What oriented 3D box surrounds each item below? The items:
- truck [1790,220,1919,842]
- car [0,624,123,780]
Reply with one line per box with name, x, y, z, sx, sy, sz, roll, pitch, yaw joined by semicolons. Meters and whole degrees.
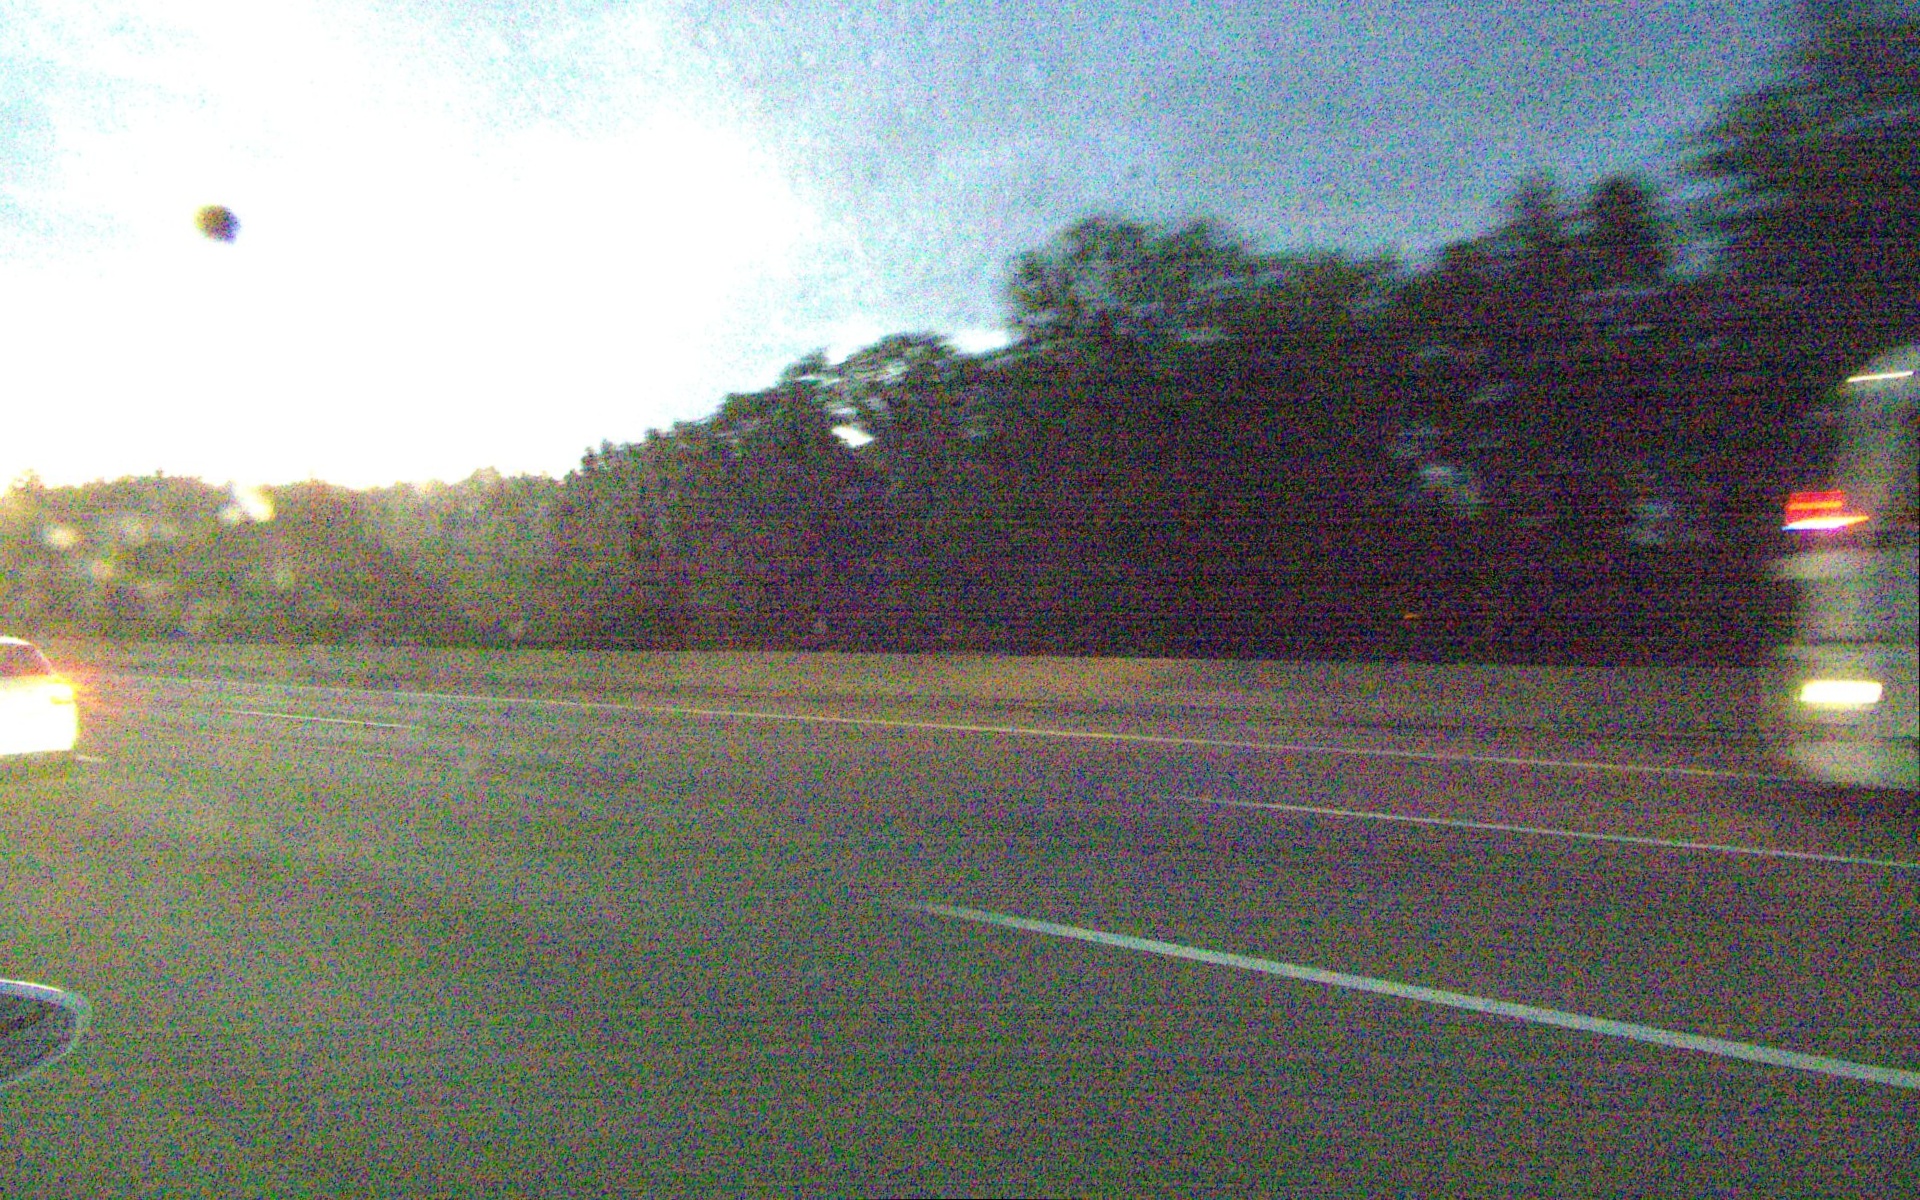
truck;11.447;-0.505;5.177;10.677;4.154;2.879;-1;-1;33
car;-10.596;1.008;10.406;3.667;1.460;1.856;-2;-2;31
